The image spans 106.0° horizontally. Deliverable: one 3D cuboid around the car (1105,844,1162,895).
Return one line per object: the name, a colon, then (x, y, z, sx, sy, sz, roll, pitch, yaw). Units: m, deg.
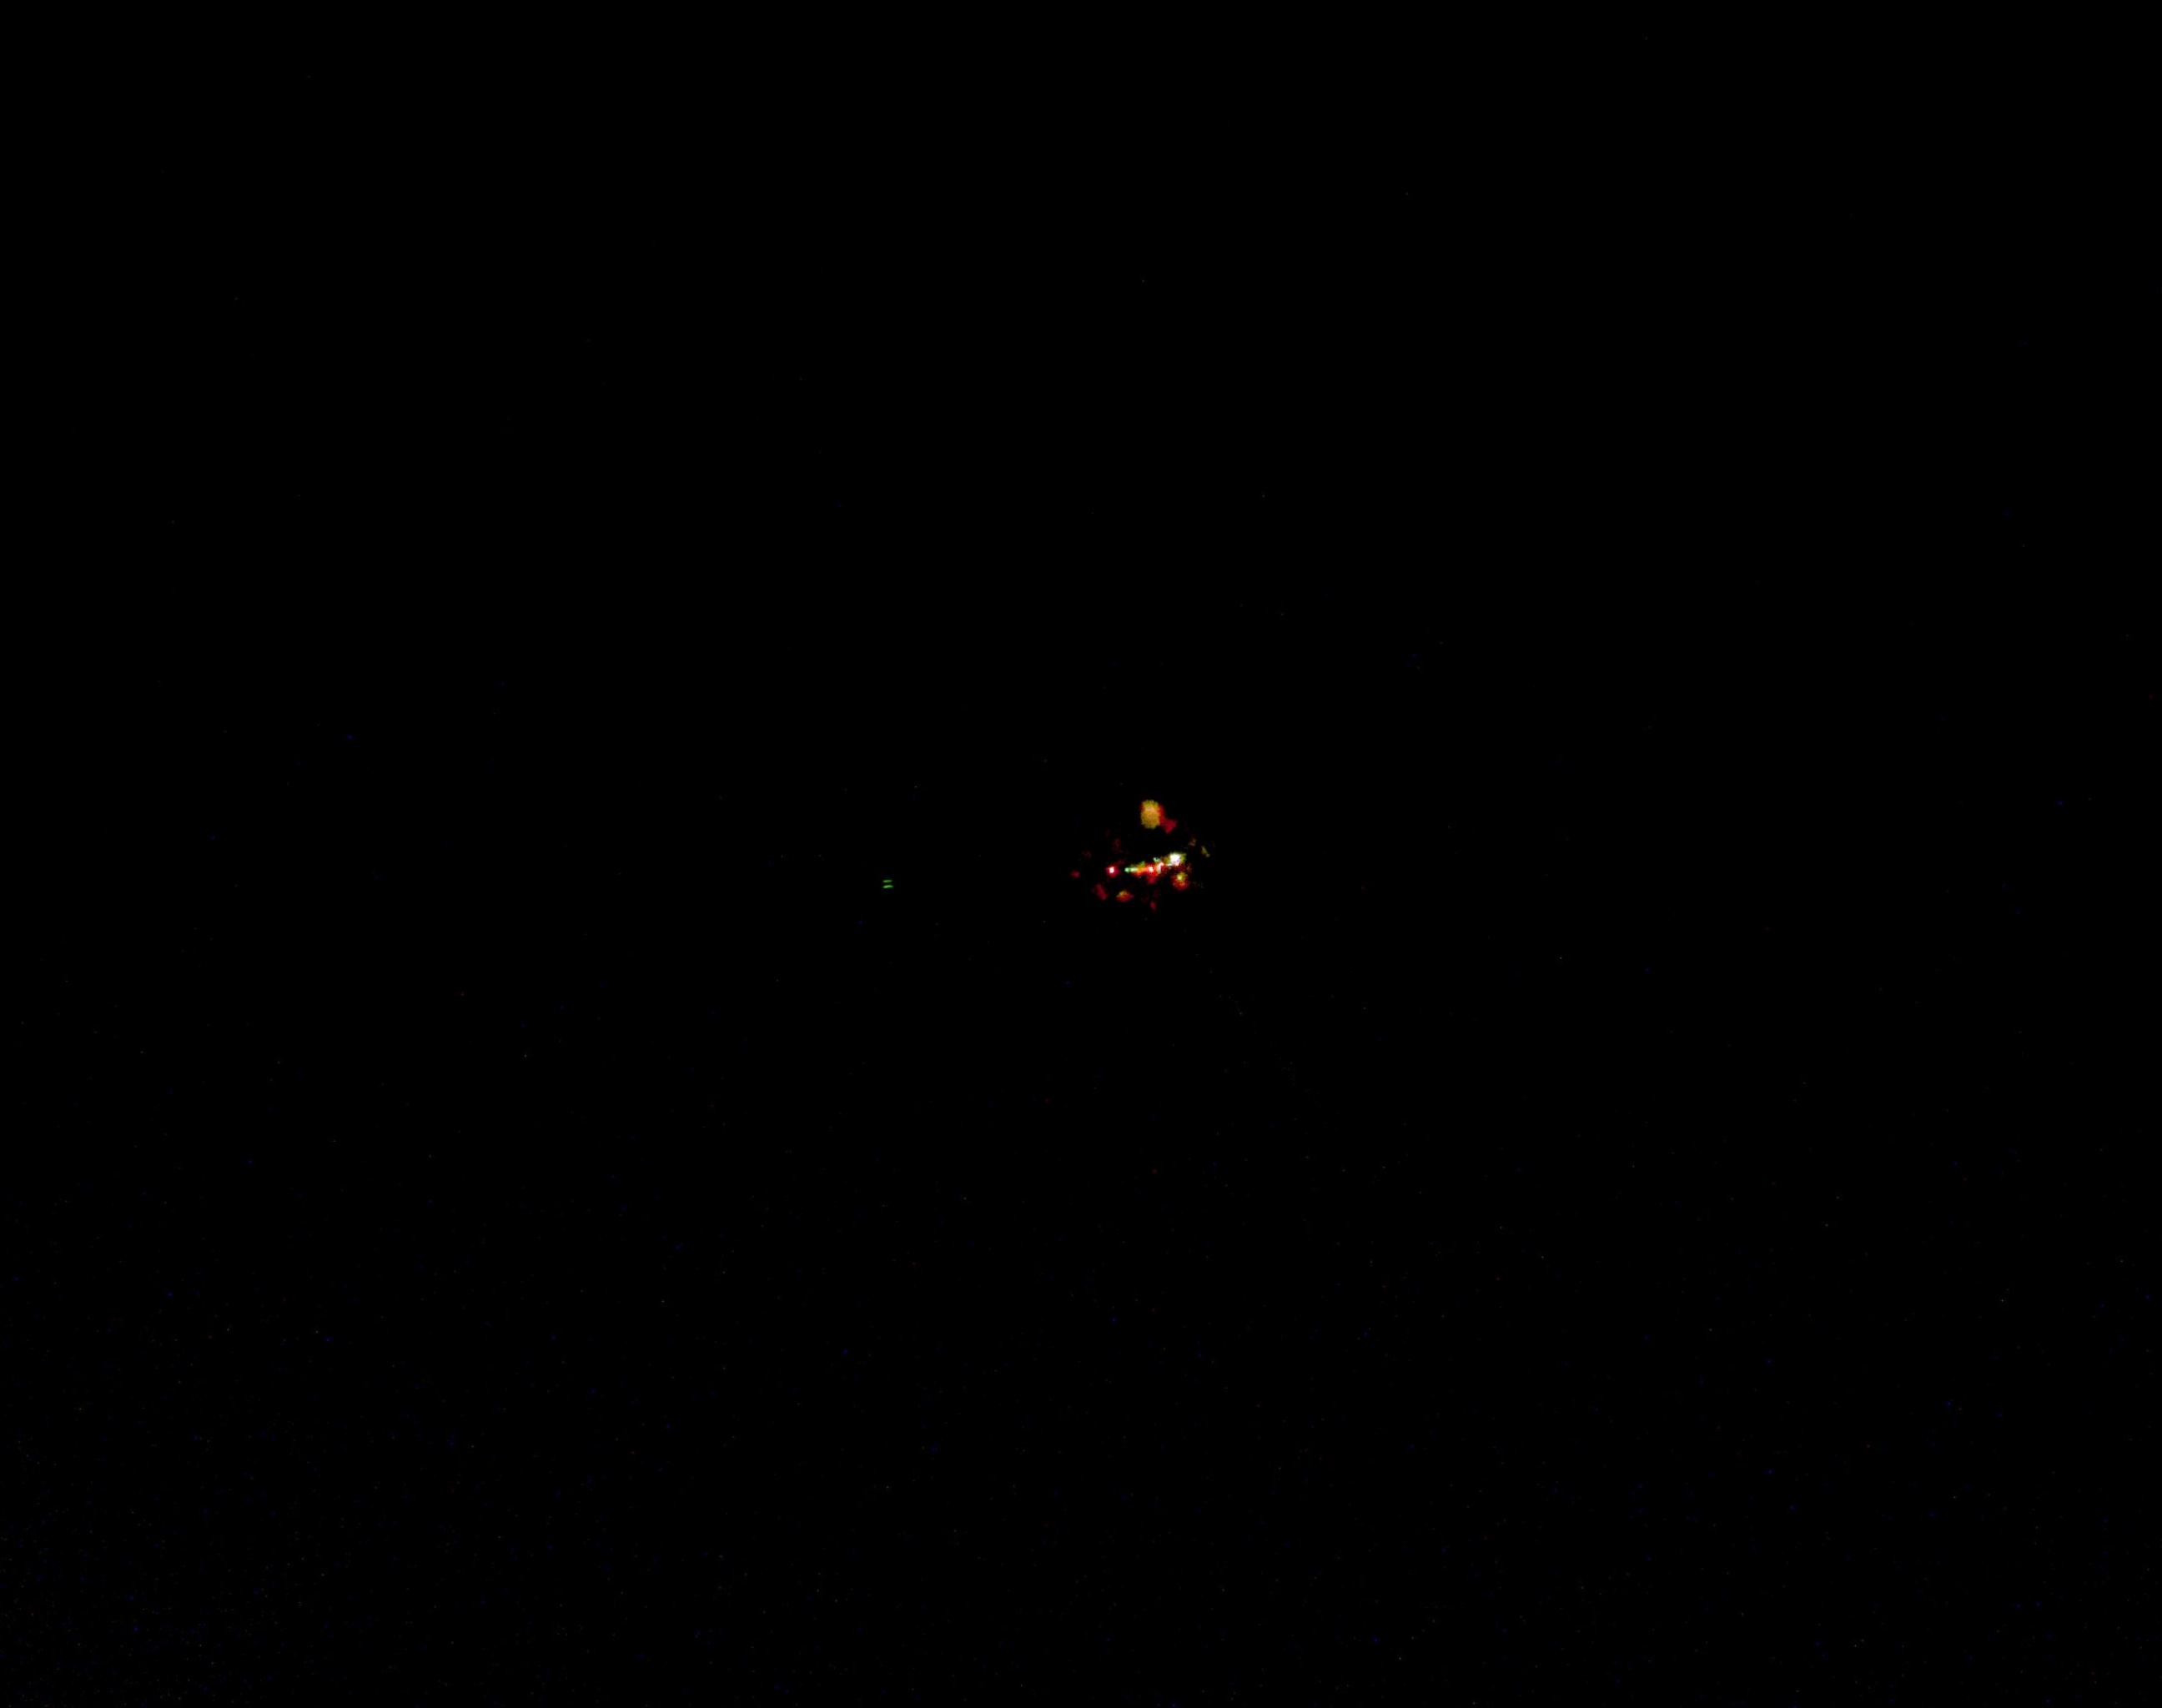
car: (2.249, 0.594, 33.755, 1.983, 1.806, 3.926, -4, 1, 7)
